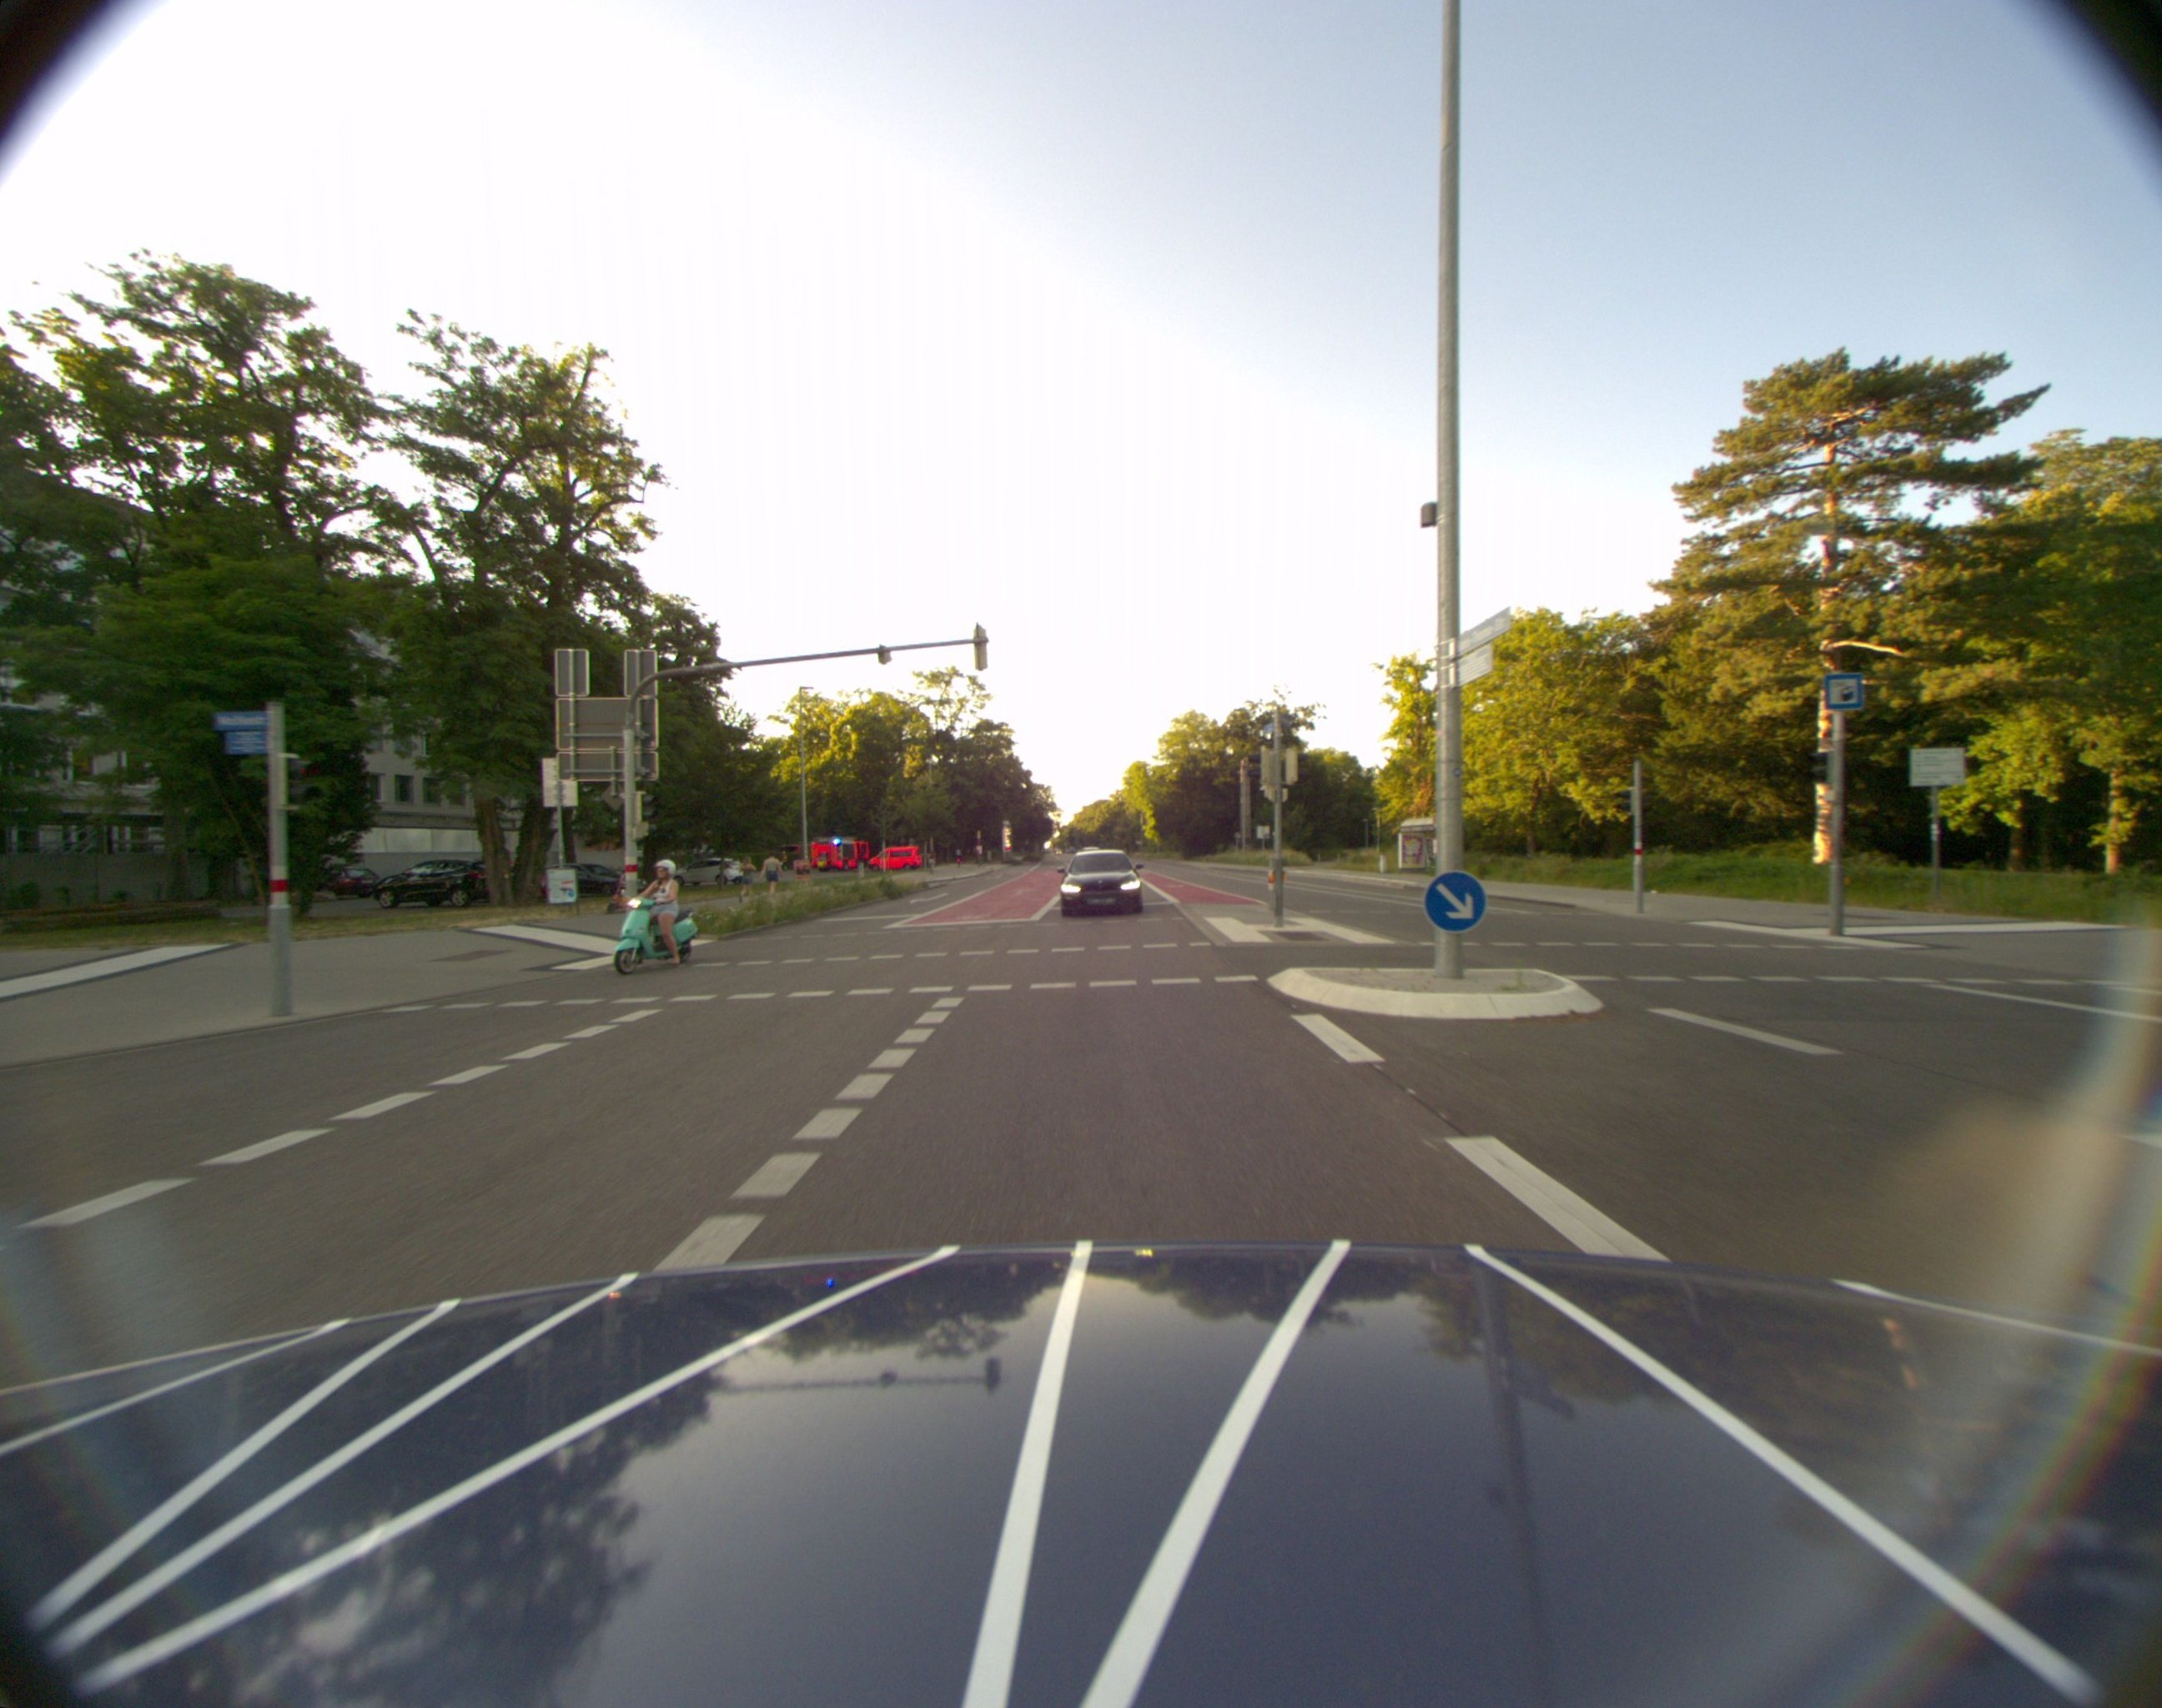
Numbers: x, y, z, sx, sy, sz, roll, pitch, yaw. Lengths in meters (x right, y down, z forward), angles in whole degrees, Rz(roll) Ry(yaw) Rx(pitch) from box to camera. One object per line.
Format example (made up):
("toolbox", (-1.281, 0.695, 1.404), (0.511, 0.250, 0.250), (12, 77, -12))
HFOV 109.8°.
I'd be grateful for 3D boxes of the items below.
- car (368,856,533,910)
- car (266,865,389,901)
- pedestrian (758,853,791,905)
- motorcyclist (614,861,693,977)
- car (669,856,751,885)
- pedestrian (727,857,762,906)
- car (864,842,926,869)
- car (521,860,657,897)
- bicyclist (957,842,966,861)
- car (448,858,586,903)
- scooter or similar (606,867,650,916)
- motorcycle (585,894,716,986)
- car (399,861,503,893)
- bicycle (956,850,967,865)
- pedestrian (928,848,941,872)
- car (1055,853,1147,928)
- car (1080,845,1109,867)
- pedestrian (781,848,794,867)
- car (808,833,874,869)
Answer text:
("car", (-21.654, 0.965, 26.176), (4.233, 1.730, 1.919), (-1, 1, 6))
("car", (-32.677, 1.246, 33.012), (3.624, 1.451, 1.771), (-1, 1, 3))
("pedestrian", (-9.834, 0.793, 24.396), (0.721, 1.650, 0.776), (-1, 1, -1))
("motorcyclist", (-6.619, 0.994, 11.789), (0.739, 1.727, 0.691), (-2, 1, 9))
("car", (-20.207, 0.881, 41.451), (3.662, 1.451, 1.665), (-1, 1, 6))
("pedestrian", (-10.764, 0.867, 24.338), (0.737, 1.514, 0.789), (-1, 1, 1))
("car", (-17.153, 0.143, 70.256), (5.164, 2.379, 2.000), (-1, 1, 4))
("car", (-20.668, 1.016, 32.035), (4.515, 1.455, 1.919), (-1, 1, 4))
("bicyclist", (-10.111, -0.210, 64.520), (0.571, 1.623, 1.038), (-1, 1, 1))
("car", (-21.471, 0.996, 29.010), (3.994, 1.601, 1.920), (-1, 1, 8))
("scooter or similar", (-12.290, 0.997, 20.633), (0.441, 1.264, 1.179), (-1, 1, 1))
("motorcycle", (-6.607, 1.284, 11.789), (0.683, 1.191, 1.895), (-2, 0, 9))
("car", (-31.864, 1.141, 38.468), (3.911, 1.513, 1.919), (-1, 1, 10))
("bicycle", (-10.109, 0.294, 64.405), (0.571, 1.233, 1.899), (-1, 1, 1))
("pedestrian", (-9.935, 0.406, 51.549), (0.682, 1.613, 0.688), (-1, 1, 1))
("car", (0.462, 0.739, 18.240), (1.818, 1.391, 5.213), (-3, 1, 1))
("car", (0.987, 0.096, 57.020), (1.850, 1.473, 4.702), (-3, 1, -2))
("pedestrian", (-28.767, 0.323, 74.489), (0.681, 1.831, 0.847), (0, 1, 35))
("car", (-22.825, -0.299, 72.820), (2.770, 3.225, 8.301), (-1, 1, 8))
